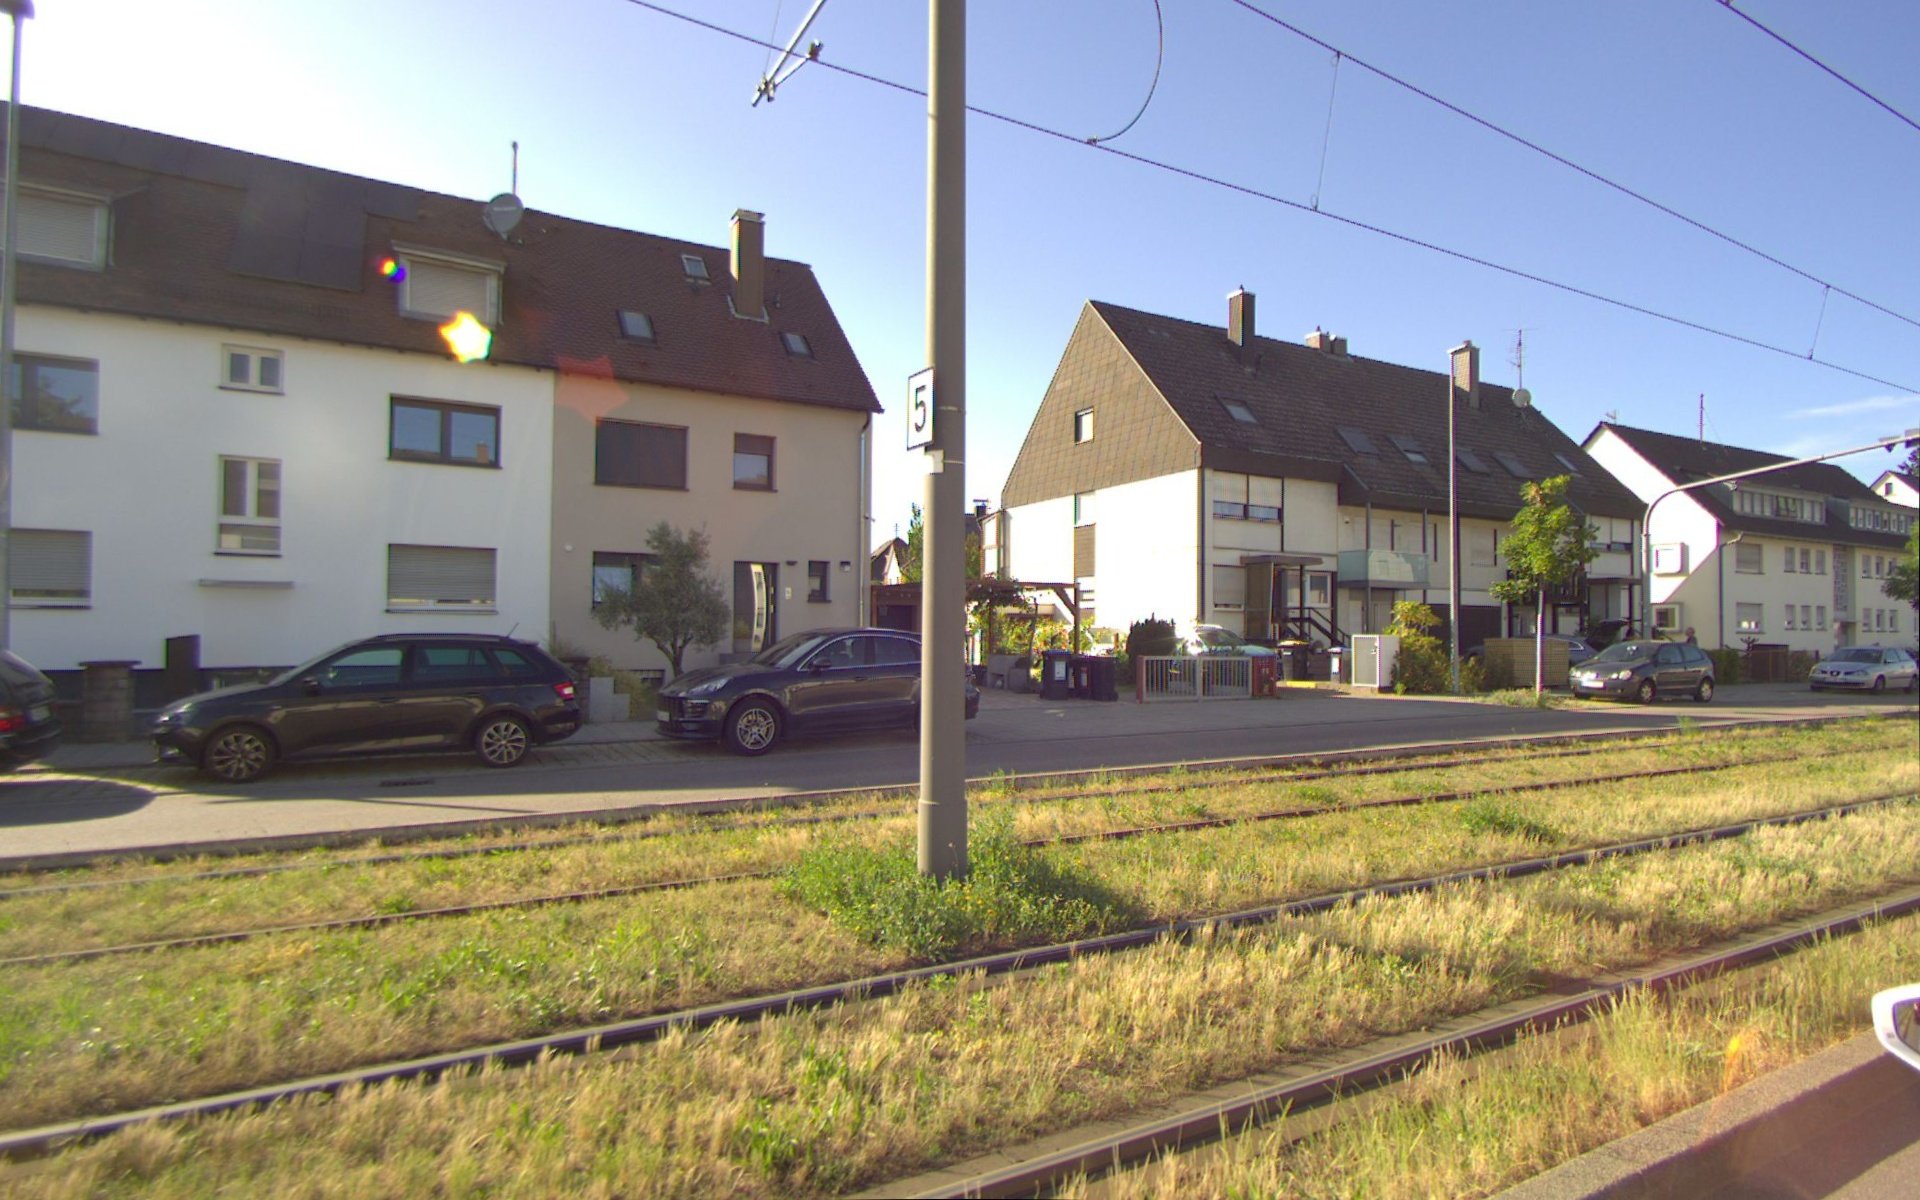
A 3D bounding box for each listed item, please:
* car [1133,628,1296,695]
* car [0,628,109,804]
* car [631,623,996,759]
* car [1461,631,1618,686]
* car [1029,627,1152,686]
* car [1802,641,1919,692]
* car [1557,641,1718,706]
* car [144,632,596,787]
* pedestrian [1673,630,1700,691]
[{"bbox_3d":[6.632,1.568,26.619,1.741,1.638,4.142,2,-2,-33],"label":"car"},{"bbox_3d":[-10.906,1.007,8.862,4.818,1.543,1.870,2,-2,-28],"label":"car"},{"bbox_3d":[-1.941,1.168,14.019,4.760,1.618,1.792,2,-2,-33],"label":"car"},{"bbox_3d":[17.940,1.772,31.244,1.718,1.588,3.875,2,-3,-36],"label":"car"},{"bbox_3d":[3.965,1.710,31.275,1.832,1.676,4.145,1,-2,-26],"label":"car"},{"bbox_3d":[27.472,2.038,30.596,3.673,1.427,1.612,4,-3,-29],"label":"car"},{"bbox_3d":[16.486,1.738,24.440,3.667,1.472,1.614,1,-2,-25],"label":"car"},{"bbox_3d":[-6.451,1.127,11.435,4.150,1.494,1.514,1,-2,-30],"label":"car"},{"bbox_3d":[21.040,1.743,29.094,0.529,1.769,0.466,1,-2,-30],"label":"pedestrian"}]
